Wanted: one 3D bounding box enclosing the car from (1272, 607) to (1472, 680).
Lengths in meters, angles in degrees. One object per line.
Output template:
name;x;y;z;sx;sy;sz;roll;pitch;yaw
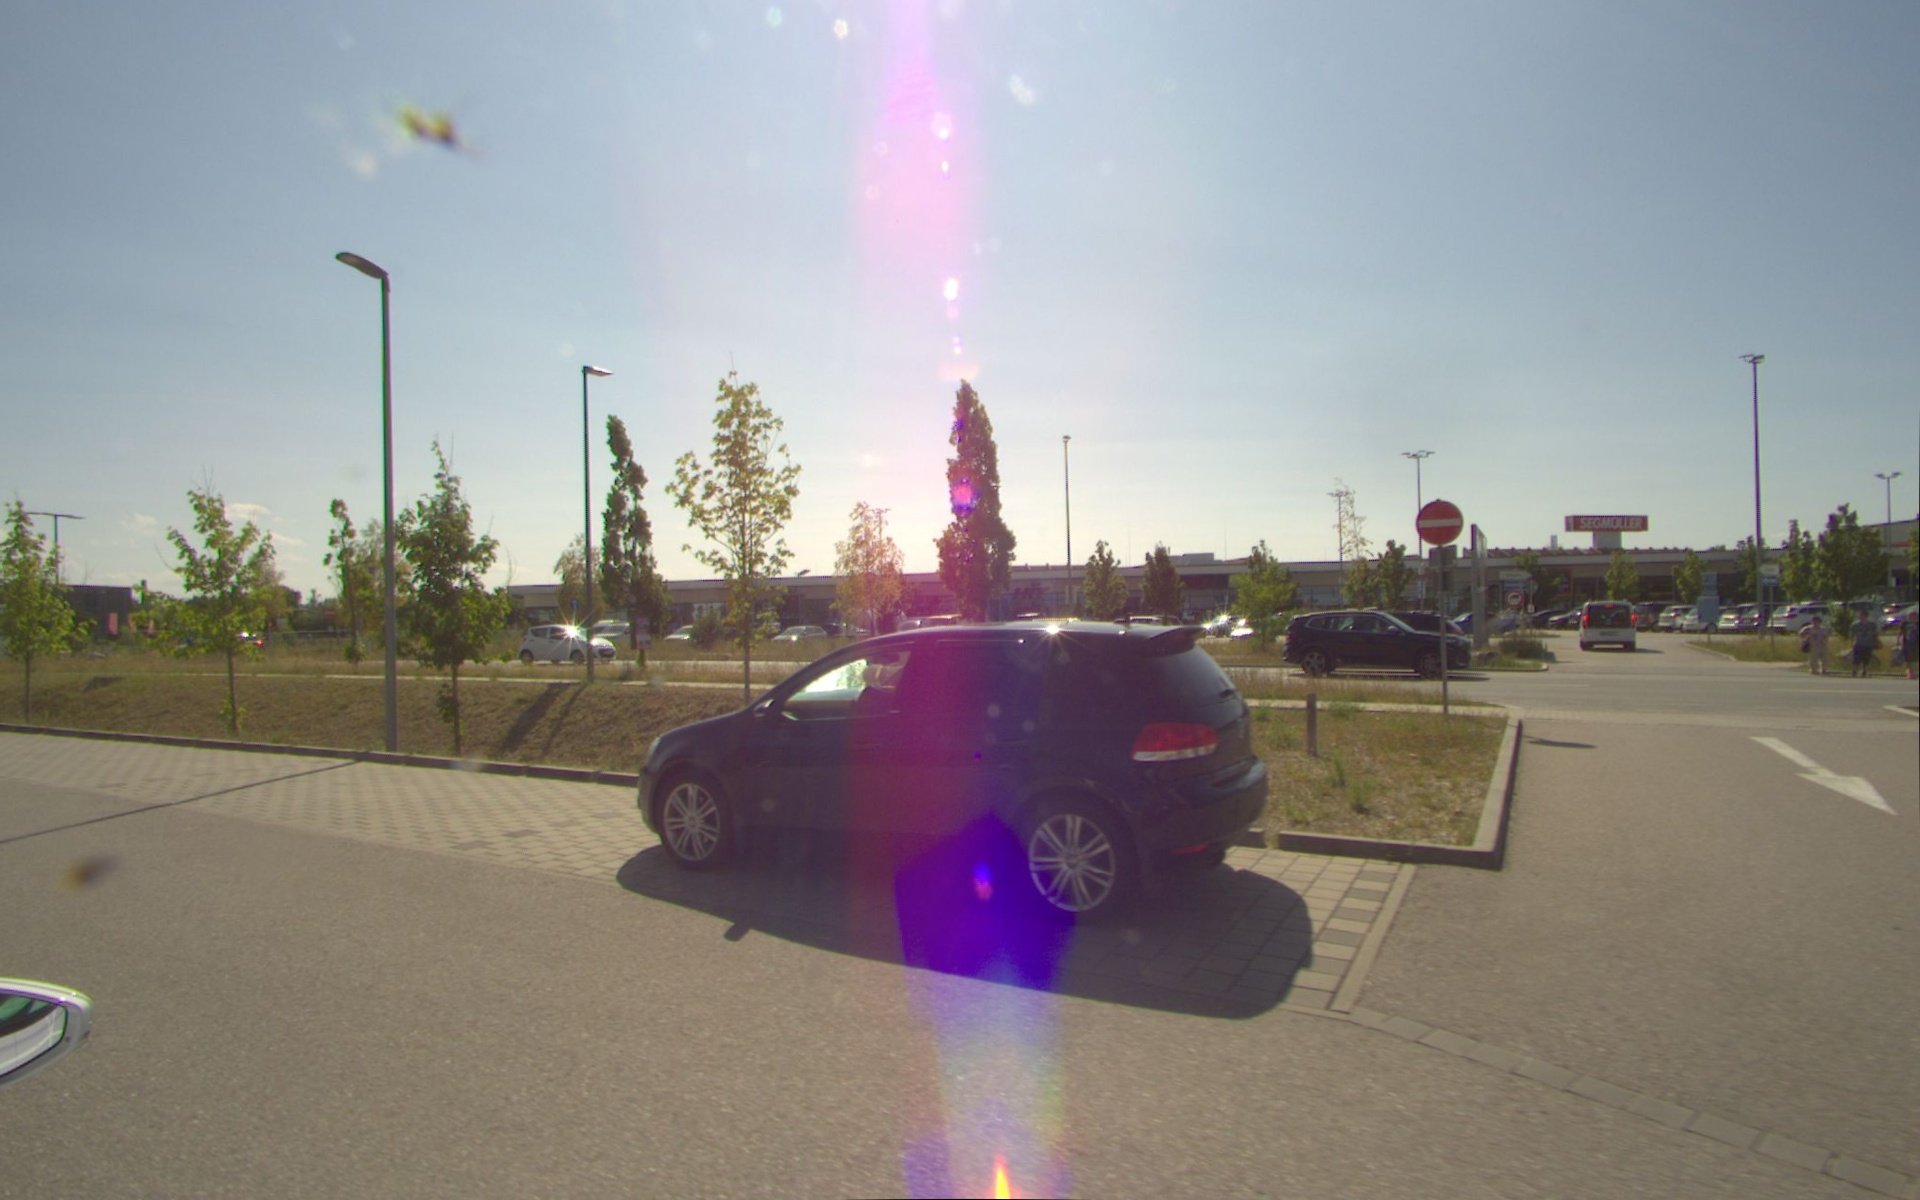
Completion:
car;10.371;1.060;25.266;4.531;1.686;1.872;-1;-1;28

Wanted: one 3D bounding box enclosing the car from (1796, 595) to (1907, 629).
car;50.228;0.678;56.496;4.319;1.879;1.956;0;-1;7

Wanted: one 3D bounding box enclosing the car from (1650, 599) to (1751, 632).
car;43.362;0.899;58.709;4.319;1.879;1.956;0;-1;7

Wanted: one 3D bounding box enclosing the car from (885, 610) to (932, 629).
car;-4.032;1.523;78.161;3.420;1.418;1.431;0;-1;14

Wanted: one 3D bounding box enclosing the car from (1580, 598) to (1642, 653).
car;25.491;0.992;39.128;1.854;1.979;4.865;-1;-1;35

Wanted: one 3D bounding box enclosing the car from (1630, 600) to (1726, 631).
car;43.632;0.952;60.927;4.319;1.879;1.956;0;-1;7

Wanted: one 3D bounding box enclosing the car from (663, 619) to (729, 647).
car;-16.851;2.092;64.176;1.965;1.748;4.416;0;-1;20

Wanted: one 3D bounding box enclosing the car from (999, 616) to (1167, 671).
car;3.580;1.229;29.319;4.531;1.502;1.872;-1;-1;28

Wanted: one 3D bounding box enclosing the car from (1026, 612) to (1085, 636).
car;6.873;1.722;71.648;3.927;1.639;1.998;-1;-1;15

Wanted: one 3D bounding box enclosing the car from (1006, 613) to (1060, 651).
car;4.159;1.789;56.199;1.964;2.039;5.173;0;-1;17

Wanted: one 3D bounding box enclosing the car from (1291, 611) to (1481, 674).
car;11.802;1.158;27.997;4.725;1.645;1.995;-1;-1;23

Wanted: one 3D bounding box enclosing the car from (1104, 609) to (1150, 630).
car;13.019;1.523;78.262;3.408;1.572;1.667;0;-1;2

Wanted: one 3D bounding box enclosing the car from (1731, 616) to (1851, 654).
car;42.035;1.749;50.736;4.319;1.879;1.956;0;-1;7

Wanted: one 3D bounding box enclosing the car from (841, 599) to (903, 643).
car;-5.164;1.277;59.376;1.964;2.487;5.070;0;-1;17

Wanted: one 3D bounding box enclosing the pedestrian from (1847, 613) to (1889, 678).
pedestrian;22.369;1.116;24.677;0.658;1.576;0.622;0;-1;33

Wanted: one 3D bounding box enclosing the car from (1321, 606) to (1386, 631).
car;30.460;1.423;77.664;4.319;1.879;1.956;0;-1;7

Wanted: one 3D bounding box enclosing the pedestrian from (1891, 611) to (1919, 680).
pedestrian;22.837;1.077;23.938;0.746;1.620;0.689;0;-1;33

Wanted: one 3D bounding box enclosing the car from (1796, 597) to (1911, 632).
car;48.466;0.800;54.401;4.319;1.879;1.956;0;-1;7

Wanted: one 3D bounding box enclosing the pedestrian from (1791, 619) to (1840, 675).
pedestrian;21.913;1.203;25.658;0.714;1.415;0.862;-1;-2;25

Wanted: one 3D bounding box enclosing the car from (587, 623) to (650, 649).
car;-21.965;2.283;64.489;1.811;1.639;3.657;0;-1;26

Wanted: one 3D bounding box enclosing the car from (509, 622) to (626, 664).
car;-14.913;1.604;38.081;3.931;1.502;1.875;0;-1;21

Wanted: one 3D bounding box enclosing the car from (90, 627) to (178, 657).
car;-46.921;2.350;56.975;1.681;1.618;3.667;0;-1;8

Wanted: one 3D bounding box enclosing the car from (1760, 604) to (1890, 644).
car;41.336;1.145;47.936;4.319;1.879;1.956;0;-1;7

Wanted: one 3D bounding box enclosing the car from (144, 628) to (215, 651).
car;-50.726;2.569;65.132;1.559;1.413;3.716;-1;-1;3

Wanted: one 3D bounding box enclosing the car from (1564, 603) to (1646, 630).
car;44.417;1.146;69.062;4.319;1.879;1.956;0;-1;5

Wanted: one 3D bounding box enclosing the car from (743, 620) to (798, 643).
car;-14.182;2.357;74.943;3.614;1.639;1.905;0;-1;14

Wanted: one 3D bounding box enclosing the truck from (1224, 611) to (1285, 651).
truck;14.683;1.532;49.725;1.968;1.888;5.414;0;-1;27

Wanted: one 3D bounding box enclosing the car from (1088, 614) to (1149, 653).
car;8.638;1.776;54.314;1.970;2.039;4.072;0;-1;30

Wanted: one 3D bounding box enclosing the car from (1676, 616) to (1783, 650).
car;42.876;1.833;55.904;4.319;1.879;1.956;0;-1;7

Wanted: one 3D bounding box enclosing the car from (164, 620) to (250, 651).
car;-41.276;1.926;55.002;1.681;1.618;3.667;0;-1;8

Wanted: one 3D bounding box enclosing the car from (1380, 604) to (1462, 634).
car;29.958;1.244;65.193;4.485;1.879;1.956;0;-1;7

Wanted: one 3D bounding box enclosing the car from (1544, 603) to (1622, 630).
car;44.677;1.212;71.831;4.319;1.879;1.956;0;-1;5

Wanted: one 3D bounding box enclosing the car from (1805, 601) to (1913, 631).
car;57.512;1.036;64.133;4.855;1.879;1.956;0;-1;7

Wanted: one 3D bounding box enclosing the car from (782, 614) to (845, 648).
car;-9.163;1.957;63.037;1.964;2.039;5.070;0;-1;17

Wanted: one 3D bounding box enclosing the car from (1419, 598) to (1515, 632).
car;28.931;0.856;57.215;4.485;1.879;1.956;0;-1;7

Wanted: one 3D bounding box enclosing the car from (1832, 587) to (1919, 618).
car;61.923;0.200;67.716;3.924;2.040;2.000;0;-1;10

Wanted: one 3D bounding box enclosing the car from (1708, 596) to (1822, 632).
car;42.540;0.763;53.004;4.319;1.879;1.956;0;-1;7

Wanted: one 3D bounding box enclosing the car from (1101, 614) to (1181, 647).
car;10.645;1.783;58.747;4.332;1.869;1.995;0;-1;22

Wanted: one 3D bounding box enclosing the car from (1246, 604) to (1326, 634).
car;22.438;1.330;69.069;4.836;2.040;2.083;0;-1;3

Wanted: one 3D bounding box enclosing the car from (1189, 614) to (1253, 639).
car;17.675;1.761;67.830;4.221;1.639;1.986;0;-1;-37

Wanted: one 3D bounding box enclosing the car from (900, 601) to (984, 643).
car;-0.943;1.283;58.220;2.768;2.266;6.300;0;-1;20

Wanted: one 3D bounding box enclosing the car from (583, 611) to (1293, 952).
car;-0.187;0.858;6.260;4.057;1.496;1.834;-1;0;28

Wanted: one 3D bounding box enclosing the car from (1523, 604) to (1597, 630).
car;44.660;1.278;74.571;4.319;1.879;1.956;0;-1;5
